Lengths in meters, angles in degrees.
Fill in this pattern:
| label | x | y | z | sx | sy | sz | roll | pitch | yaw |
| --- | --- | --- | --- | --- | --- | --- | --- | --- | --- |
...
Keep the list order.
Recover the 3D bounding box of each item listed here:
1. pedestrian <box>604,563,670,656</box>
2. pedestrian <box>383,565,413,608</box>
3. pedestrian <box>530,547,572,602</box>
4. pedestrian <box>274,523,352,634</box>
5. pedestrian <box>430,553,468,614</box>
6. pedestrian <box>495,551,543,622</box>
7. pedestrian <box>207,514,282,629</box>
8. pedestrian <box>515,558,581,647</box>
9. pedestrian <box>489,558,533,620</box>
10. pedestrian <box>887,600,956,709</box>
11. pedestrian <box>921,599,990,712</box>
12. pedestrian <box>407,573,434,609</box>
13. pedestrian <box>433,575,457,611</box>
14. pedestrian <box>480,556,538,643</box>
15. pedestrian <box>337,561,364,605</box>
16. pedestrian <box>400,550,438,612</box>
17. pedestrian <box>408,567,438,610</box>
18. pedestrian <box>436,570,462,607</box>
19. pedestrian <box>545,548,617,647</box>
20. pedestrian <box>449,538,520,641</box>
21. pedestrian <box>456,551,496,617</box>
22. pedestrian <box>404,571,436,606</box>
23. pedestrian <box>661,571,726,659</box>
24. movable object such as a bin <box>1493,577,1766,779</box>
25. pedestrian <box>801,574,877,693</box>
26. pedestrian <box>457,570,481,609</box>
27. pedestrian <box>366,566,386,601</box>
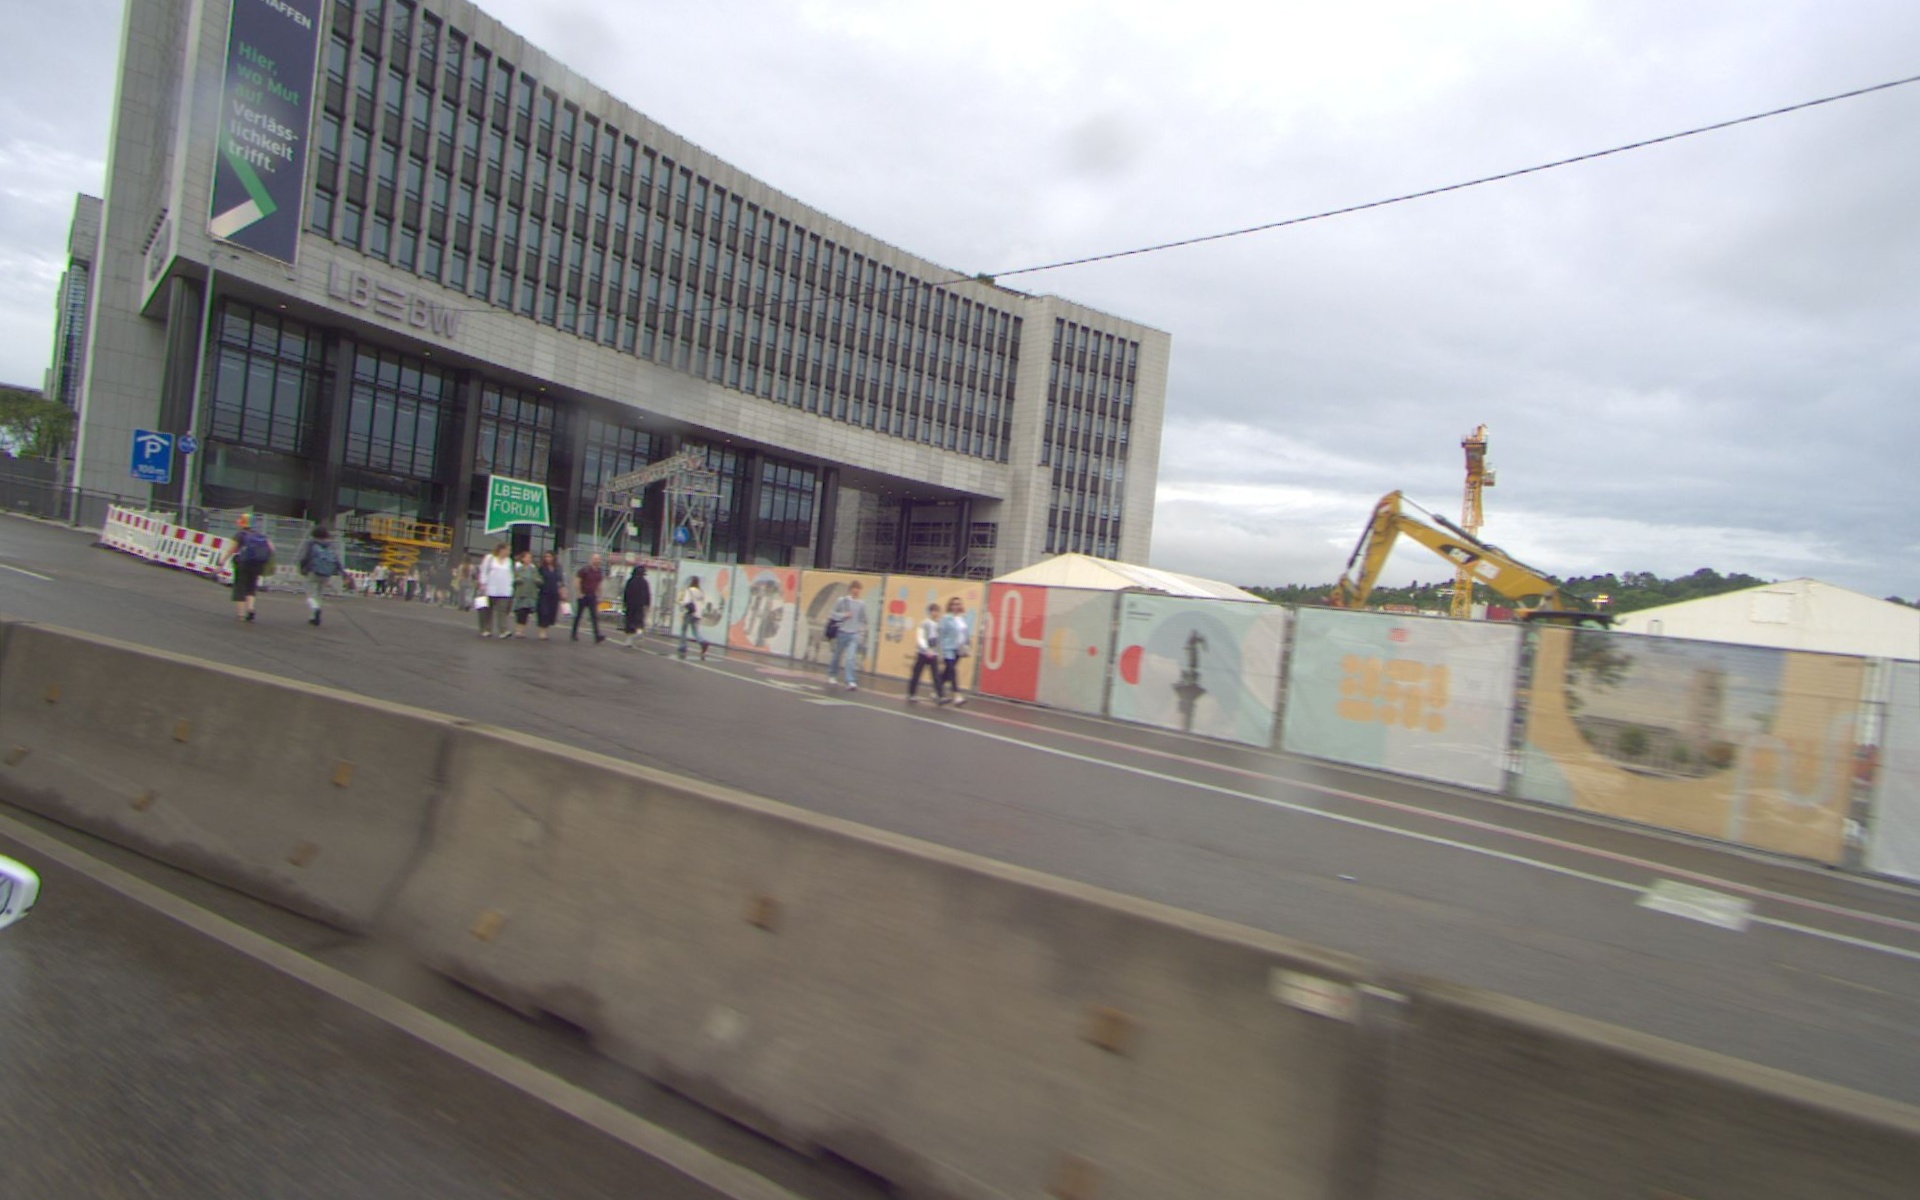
| label | x | y | z | sx | sy | sz | roll | pitch | yaw |
| --- | --- | --- | --- | --- | --- | --- | --- | --- | --- |
| pedestrian | -6.582 | 0.188 | 20.475 | 0.861 | 1.747 | 0.999 | 6 | 0 | -35 |
| pedestrian | -23.437 | -0.581 | 41.973 | 0.861 | 1.657 | 0.999 | 6 | 0 | -35 |
| pedestrian | -12.612 | -0.799 | 30.977 | 0.861 | 1.572 | 0.999 | 6 | 0 | -35 |
| pedestrian | -10.210 | -0.345 | 15.871 | 0.855 | 1.613 | 0.943 | 6 | 0 | -36 |
| pedestrian | -14.623 | -0.483 | 28.774 | 0.693 | 1.657 | 0.907 | 6 | 0 | -35 |
| pedestrian | -12.058 | -0.378 | 27.471 | 0.861 | 1.803 | 0.999 | 6 | 0 | -35 |
| pedestrian | -10.747 | -0.426 | 15.120 | 0.728 | 1.593 | 0.797 | 8 | -1 | -36 |
| pedestrian | -7.921 | 0.047 | 19.339 | 0.712 | 1.572 | 0.995 | 6 | 0 | -44 |
| pedestrian | -12.993 | -0.323 | 29.094 | 0.861 | 1.657 | 0.999 | 6 | 0 | -35 |
| pedestrian | -0.598 | 0.827 | 15.430 | 0.641 | 1.572 | 0.761 | 6 | 0 | -28 |
| pedestrian | -0.081 | 0.873 | 15.893 | 0.641 | 1.675 | 0.761 | 6 | 0 | -28 |
| pedestrian | -26.843 | -0.462 | 50.053 | 0.856 | 1.657 | 1.004 | 6 | 0 | -20 |
| pedestrian | -25.596 | -0.332 | 49.978 | 0.859 | 1.657 | 1.000 | 6 | 0 | -30 |
| pedestrian | -8.495 | -0.014 | 18.938 | 0.607 | 1.541 | 0.874 | 6 | 0 | -44 |
| pedestrian | -24.122 | -0.675 | 39.804 | 0.578 | 1.657 | 0.750 | 6 | 0 | -15 |
| pedestrian | -15.296 | -0.544 | 28.440 | 0.720 | 1.657 | 0.907 | 6 | 0 | -35 |
| pedestrian | -22.658 | -0.485 | 42.438 | 0.861 | 1.657 | 0.999 | 6 | 0 | -35 |
| pedestrian | -23.664 | -0.529 | 46.563 | 0.727 | 1.657 | 0.653 | 6 | 0 | -5 |
| pedestrian | -7.602 | -0.048 | 20.190 | 0.863 | 1.840 | 0.995 | 6 | 0 | -44 |
| pedestrian | -8.648 | -0.198 | 18.295 | 0.775 | 1.744 | 0.880 | 6 | 0 | -44 |
| pedestrian | -14.216 | -0.480 | 29.535 | 0.766 | 1.805 | 0.999 | 6 | 0 | -35 |
| pedestrian | -28.118 | -0.588 | 52.348 | 0.853 | 1.657 | 1.008 | 6 | 0 | 23 |
| pedestrian | -5.627 | 0.313 | 21.221 | 0.861 | 1.710 | 0.999 | 6 | 0 | -35 |
| movable object such as a bin | 13.546 | 1.504 | 20.611 | 4.162 | 3.451 | 1.938 | 6 | 0 | 34 |
| pedestrian | -2.042 | 0.547 | 16.922 | 0.811 | 1.871 | 0.925 | 6 | 0 | -28 |
| pedestrian | -24.197 | -0.507 | 49.587 | 0.743 | 1.838 | 0.641 | 6 | 0 | -5 |
| pedestrian | -28.360 | -0.809 | 48.820 | 0.699 | 1.635 | 0.561 | 6 | 0 | -31 |
